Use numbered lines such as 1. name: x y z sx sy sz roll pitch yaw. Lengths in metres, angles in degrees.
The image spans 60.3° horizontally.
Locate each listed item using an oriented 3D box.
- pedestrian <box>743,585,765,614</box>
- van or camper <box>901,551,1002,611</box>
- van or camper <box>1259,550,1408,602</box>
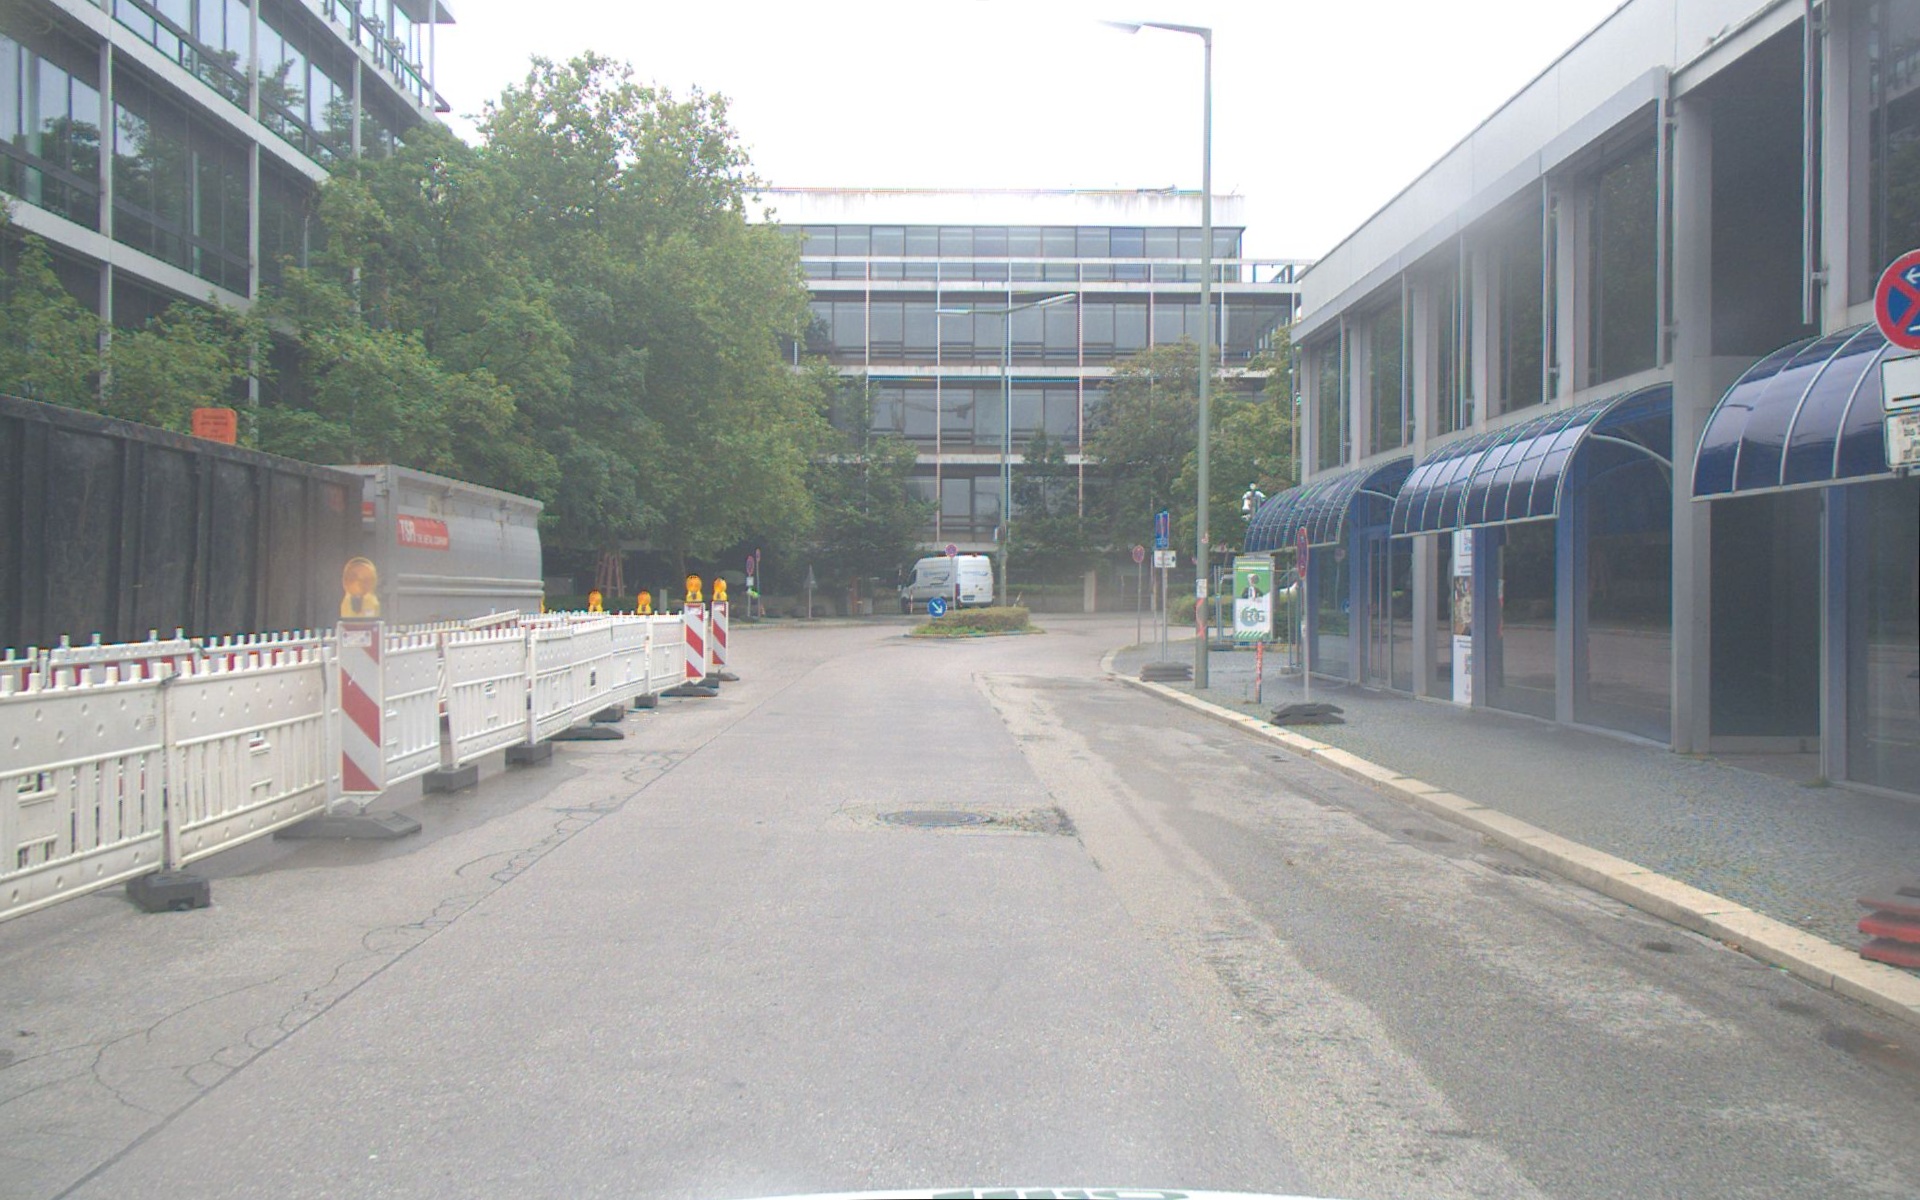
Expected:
1. pedestrian: -9.339 -0.010 75.011 0.907 1.300 0.542 0 0 1
2. van or camper: -0.472 -0.816 77.358 2.130 2.626 6.483 0 -1 -26
3. van or camper: 16.863 -1.092 74.777 6.292 2.321 2.246 0 1 -15
